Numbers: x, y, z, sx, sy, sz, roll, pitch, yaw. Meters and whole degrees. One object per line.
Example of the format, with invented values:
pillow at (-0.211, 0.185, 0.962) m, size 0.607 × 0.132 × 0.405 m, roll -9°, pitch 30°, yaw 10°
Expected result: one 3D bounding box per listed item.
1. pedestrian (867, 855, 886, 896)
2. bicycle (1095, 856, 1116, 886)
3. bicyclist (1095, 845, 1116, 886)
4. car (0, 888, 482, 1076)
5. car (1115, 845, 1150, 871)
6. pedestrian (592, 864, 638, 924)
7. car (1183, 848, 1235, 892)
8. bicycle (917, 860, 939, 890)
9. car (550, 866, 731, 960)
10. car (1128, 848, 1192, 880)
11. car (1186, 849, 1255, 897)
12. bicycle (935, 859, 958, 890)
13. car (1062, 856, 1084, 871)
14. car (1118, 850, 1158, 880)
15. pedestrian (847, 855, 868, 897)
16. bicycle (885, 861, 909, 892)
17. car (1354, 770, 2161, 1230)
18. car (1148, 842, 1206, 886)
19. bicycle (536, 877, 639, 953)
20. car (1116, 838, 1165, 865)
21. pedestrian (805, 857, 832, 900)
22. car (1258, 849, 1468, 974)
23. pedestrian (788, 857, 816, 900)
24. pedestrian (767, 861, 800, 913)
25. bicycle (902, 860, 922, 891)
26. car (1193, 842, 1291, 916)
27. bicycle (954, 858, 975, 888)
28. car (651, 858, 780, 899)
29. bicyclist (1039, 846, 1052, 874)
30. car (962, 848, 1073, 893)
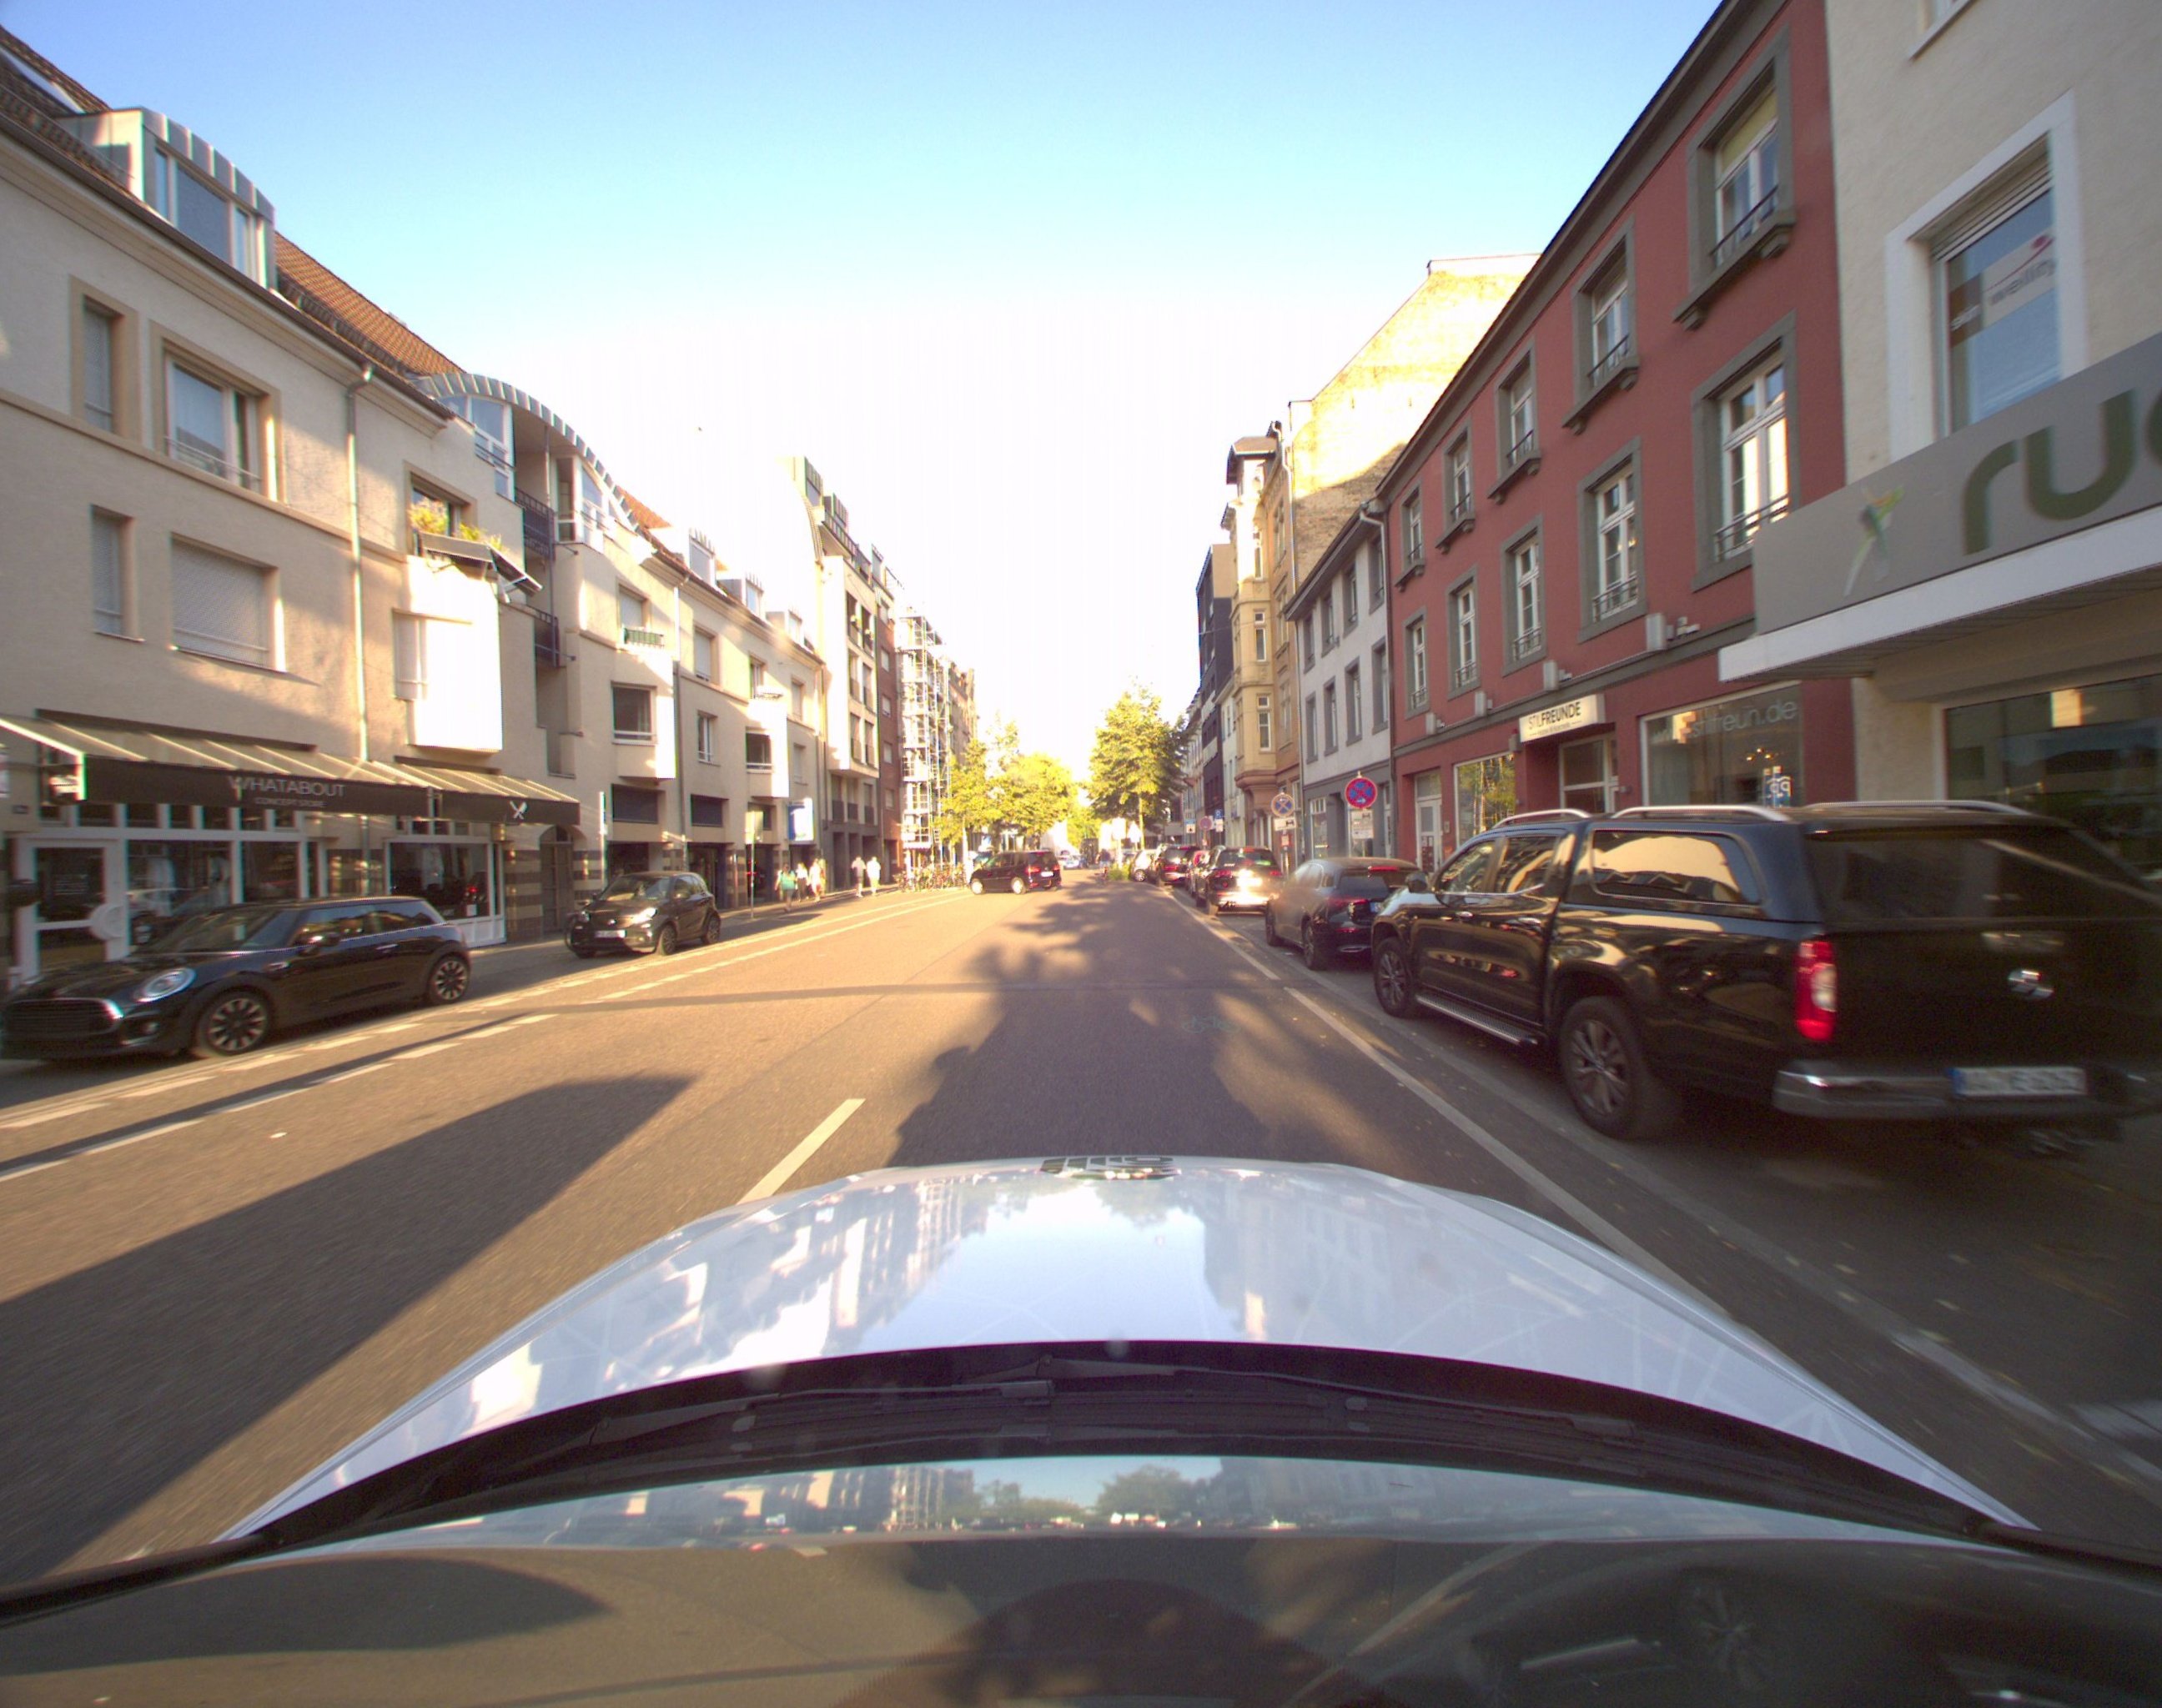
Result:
pedestrian at (-8.908, 0.919, 35.522) m, size 0.716 × 1.740 × 0.737 m, roll 0°, pitch 0°, yaw -6°
bicycle at (1.048, 0.719, 35.003) m, size 0.778 × 1.204 × 2.020 m, roll -3°, pitch 0°, yaw 0°
bicyclist at (1.047, 0.476, 34.902) m, size 0.778 × 1.696 × 1.007 m, roll -3°, pitch 0°, yaw 0°
car at (-8.771, 1.174, 8.823) m, size 1.704 × 1.453 × 3.727 m, roll -1°, pitch 0°, yaw 2°
car at (3.869, 0.304, 61.894) m, size 2.259 × 1.766 × 4.507 m, roll 4°, pitch 0°, yaw -1°
pedestrian at (-12.827, 1.085, 22.435) m, size 0.713 × 1.616 × 0.856 m, roll -1°, pitch 0°, yaw 4°
car at (4.561, 0.555, 29.383) m, size 1.580 × 1.483 × 3.270 m, roll -1°, pitch 0°, yaw 4°
bicycle at (-7.218, 0.958, 38.510) m, size 0.780 × 1.373 × 3.135 m, roll -1°, pitch 0°, yaw -6°
car at (-8.375, 1.048, 15.816) m, size 1.786 × 1.535 × 3.188 m, roll -1°, pitch 0°, yaw -1°
car at (3.826, 0.482, 39.648) m, size 2.961 × 1.536 × 1.432 m, roll -1°, pitch 0°, yaw -2°
car at (4.286, 0.565, 25.439) m, size 1.660 × 1.378 × 3.805 m, roll -1°, pitch 0°, yaw 3°
bicycle at (-6.347, 0.932, 38.630) m, size 0.892 × 1.395 × 3.159 m, roll -2°, pitch 0°, yaw -6°
car at (-0.728, 0.883, 77.144) m, size 1.830 × 1.441 × 4.335 m, roll 0°, pitch 0°, yaw 3°
car at (3.343, 0.620, 48.584) m, size 1.988 × 1.668 × 4.507 m, roll -1°, pitch 0°, yaw -1°
pedestrian at (-9.525, 0.928, 34.727) m, size 0.716 × 1.767 × 0.693 m, roll 0°, pitch 0°, yaw -6°
bicycle at (-8.629, 1.028, 38.311) m, size 0.720 × 1.395 × 3.146 m, roll -1°, pitch 0°, yaw -6°
car at (3.677, 0.564, 5.669) m, size 1.877 × 1.754 × 5.058 m, roll -1°, pitch 0°, yaw 0°
car at (3.933, 0.412, 34.076) m, size 1.819 × 1.695 × 4.367 m, roll -1°, pitch 0°, yaw -1°
bicycle at (-10.016, 1.197, 16.662) m, size 0.608 × 1.375 × 2.359 m, roll -1°, pitch 0°, yaw 2°
car at (4.934, -0.208, 67.241) m, size 3.967 × 2.013 × 2.004 m, roll -2°, pitch 0°, yaw 6°
pedestrian at (-10.167, 0.950, 31.575) m, size 0.713 × 1.641 × 0.856 m, roll -1°, pitch 0°, yaw 6°
car at (3.841, 0.701, 11.912) m, size 1.755 × 1.483 × 4.309 m, roll -1°, pitch 0°, yaw 3°
pedestrian at (-10.873, 0.953, 31.750) m, size 0.713 × 1.641 × 0.857 m, roll -1°, pitch 0°, yaw 6°
pedestrian at (-9.633, 1.043, 26.420) m, size 0.714 × 1.641 × 0.951 m, roll -1°, pitch 0°, yaw -1°
bicycle at (-7.958, 0.981, 38.402) m, size 0.584 × 1.395 × 3.154 m, roll 0°, pitch 0°, yaw -6°
car at (3.943, 0.574, 20.570) m, size 1.804 × 1.668 × 4.208 m, roll -1°, pitch 0°, yaw 3°
bicycle at (-5.523, 0.882, 38.735) m, size 0.843 × 1.350 × 3.180 m, roll -2°, pitch 0°, yaw -6°
car at (-15.265, 1.005, 34.149) m, size 4.474 × 1.601 × 2.003 m, roll -1°, pitch 0°, yaw 4°
bicyclist at (-2.396, 0.410, 55.249) m, size 0.778 × 1.829 × 1.007 m, roll -3°, pitch 0°, yaw 0°
car at (-2.561, 0.664, 31.748) m, size 2.011 × 1.602 × 4.455 m, roll 0°, pitch -2°, yaw -41°
